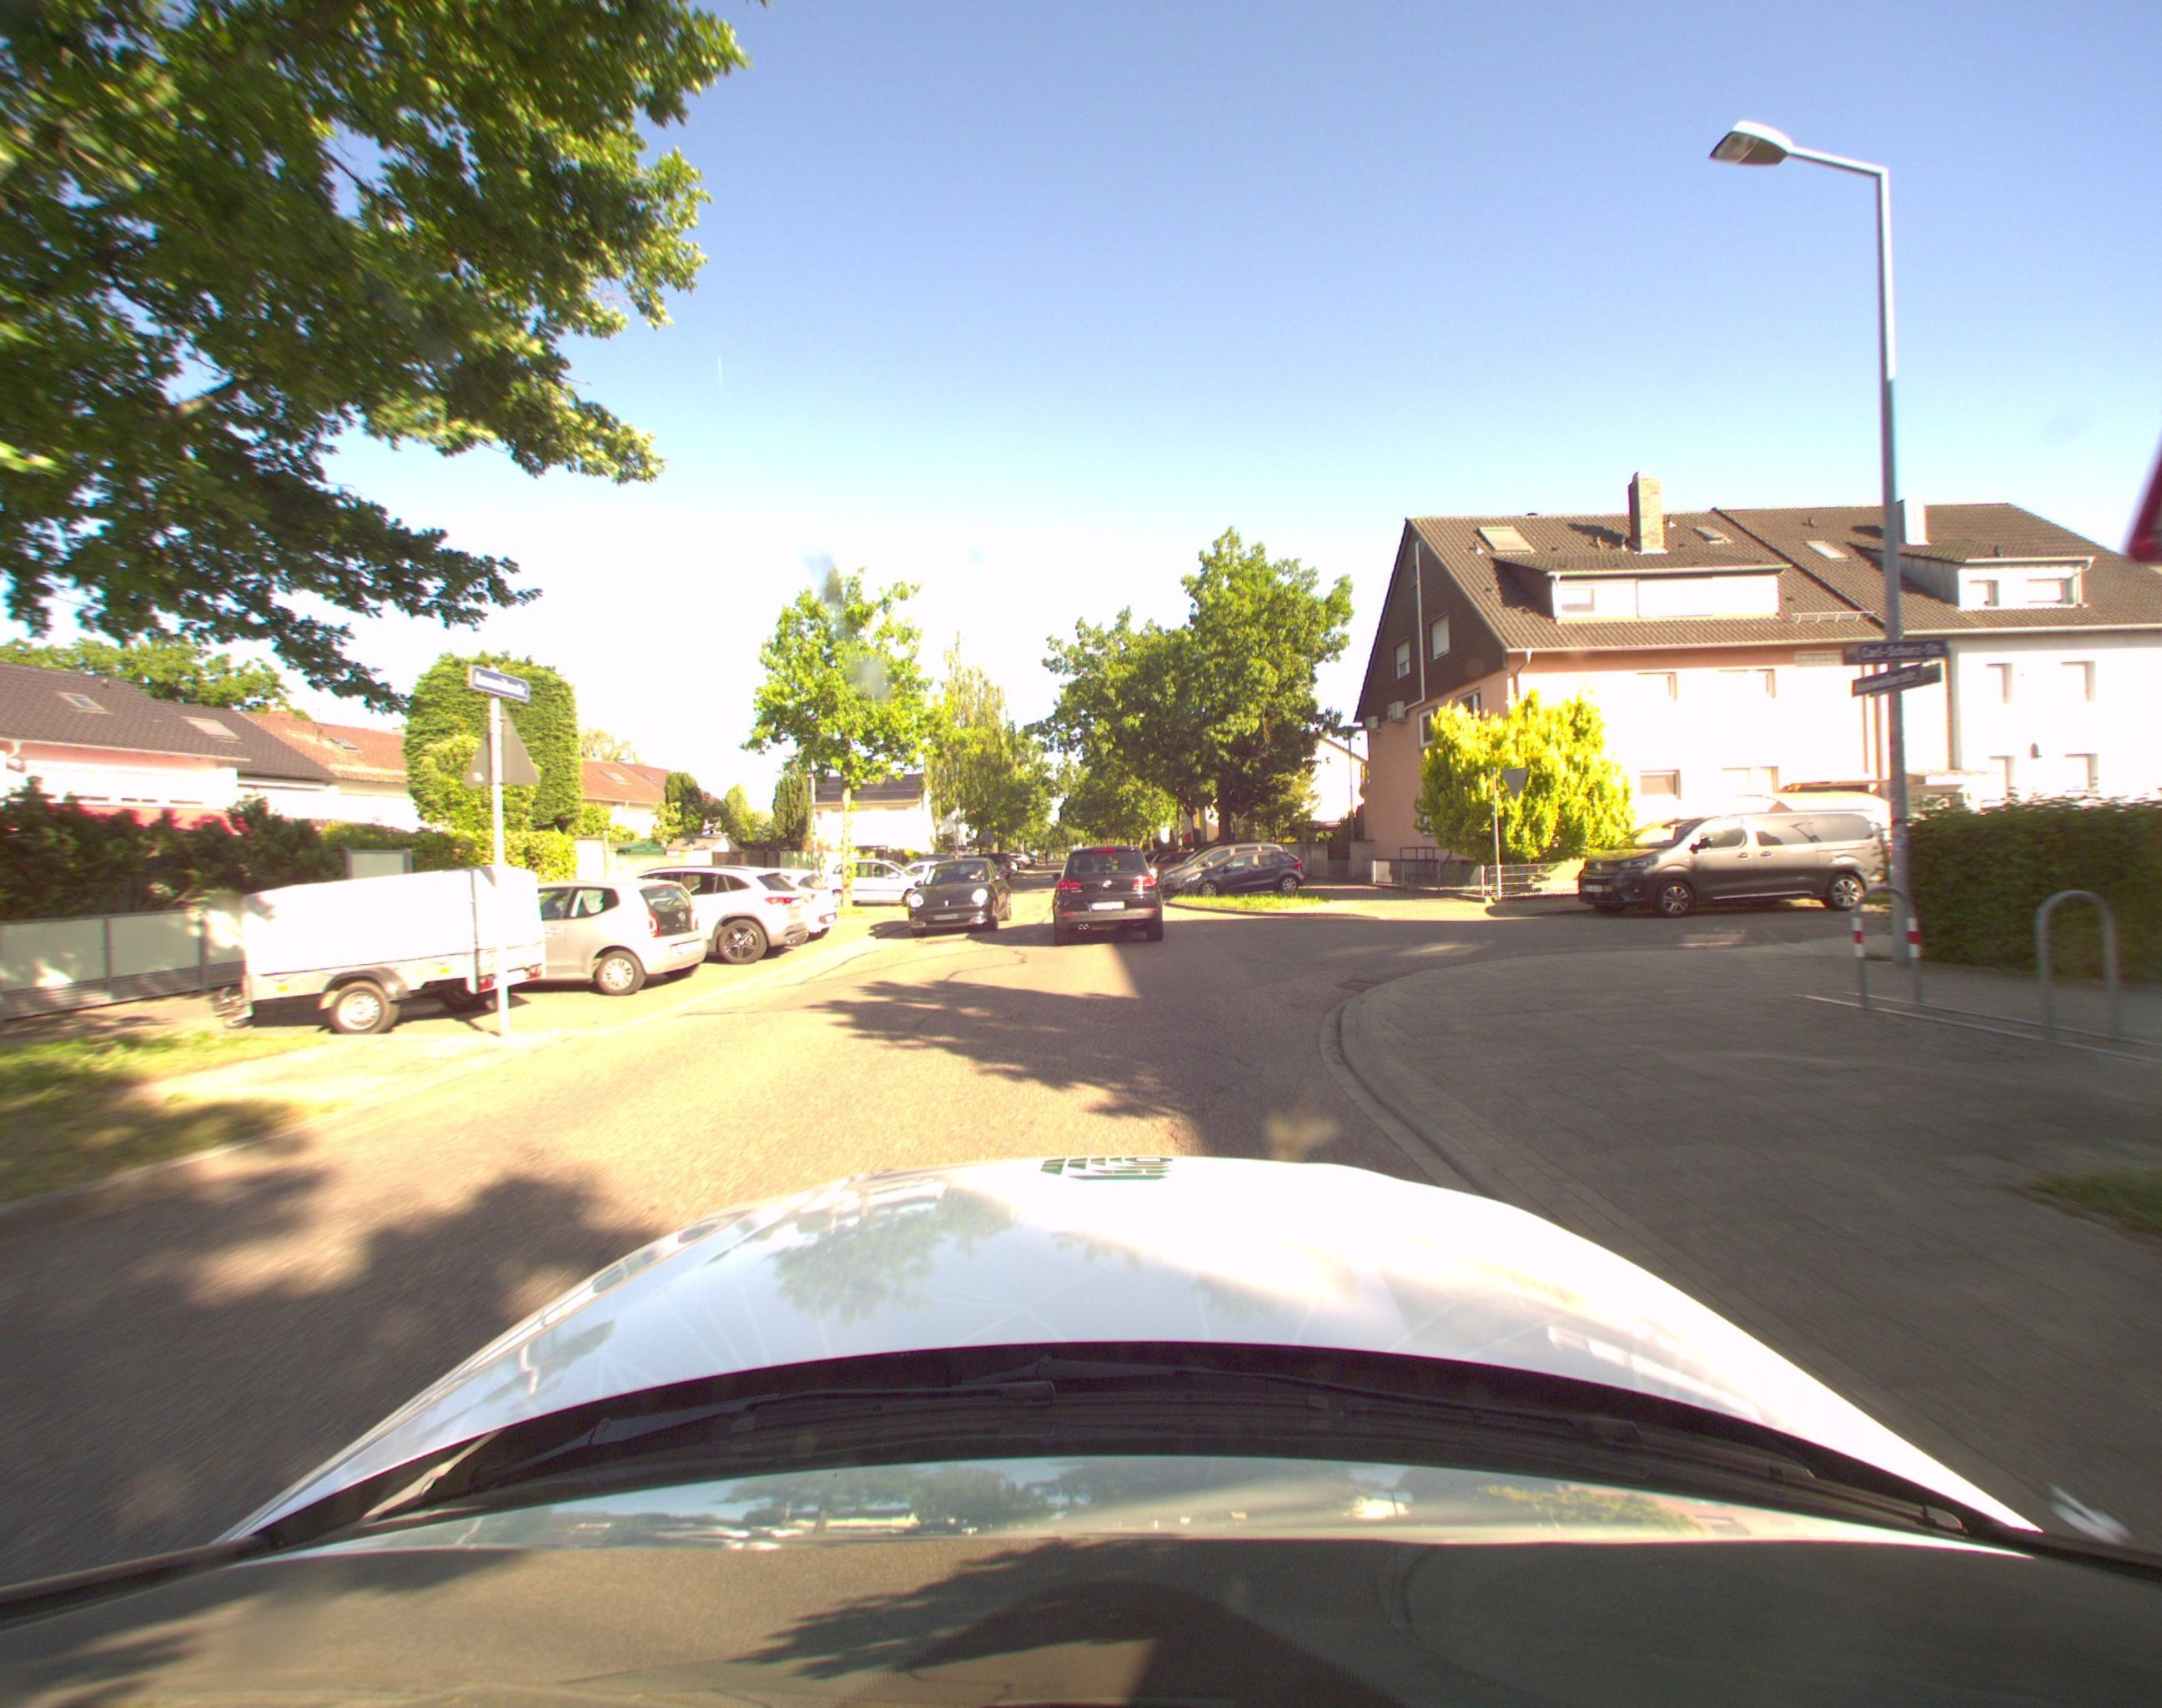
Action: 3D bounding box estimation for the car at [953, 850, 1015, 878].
[{"bbox_3d":[-6.605,0.703,55.775,3.975,1.720,1.820,-2,-1,-1],"label":"car"}]

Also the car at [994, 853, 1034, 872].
[{"bbox_3d":[-6.879,0.852,83.630,3.984,1.684,1.995,-2,0,-8],"label":"car"}]

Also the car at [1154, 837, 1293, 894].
[{"bbox_3d":[5.024,0.394,29.161,4.618,1.809,1.823,-2,0,0],"label":"car"}]

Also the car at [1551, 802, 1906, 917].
[{"bbox_3d":[12.223,0.116,15.626,5.228,1.847,2.070,-2,-1,-3],"label":"car"}]

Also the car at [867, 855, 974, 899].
[{"bbox_3d":[-6.612,0.946,33.922,3.972,1.640,2.001,-2,0,1],"label":"car"}]

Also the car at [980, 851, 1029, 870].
[{"bbox_3d":[-6.626,0.582,71.098,3.973,1.498,2.000,-2,-2,0],"label":"car"}]

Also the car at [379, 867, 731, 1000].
[{"bbox_3d":[-6.969,1.009,11.100,3.537,1.477,1.808,-2,0,0],"label":"car"}]

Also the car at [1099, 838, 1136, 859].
[{"bbox_3d":[3.973,-0.613,89.046,3.973,2.014,2.000,-2,-2,0],"label":"car"}]

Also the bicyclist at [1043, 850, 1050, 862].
[{"bbox_3d":[-4.055,0.210,95.929,0.699,1.346,0.506,-2,-2,-4],"label":"bicyclist"}]

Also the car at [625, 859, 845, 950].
[{"bbox_3d":[-6.730,0.943,16.194,3.543,1.557,1.849,-2,0,-5],"label":"car"}]

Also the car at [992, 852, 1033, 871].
[{"bbox_3d":[-6.880,0.708,81.230,3.984,1.684,1.918,-2,0,-8],"label":"car"}]

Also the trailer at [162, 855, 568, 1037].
[{"bbox_3d":[-7.479,0.897,8.737,2.961,1.656,1.394,-2,0,-4],"label":"trailer"}]

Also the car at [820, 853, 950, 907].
[{"bbox_3d":[-6.807,0.876,28.582,3.973,1.670,2.001,-2,0,1],"label":"car"}]

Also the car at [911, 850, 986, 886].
[{"bbox_3d":[-7.476,0.786,46.136,3.979,1.836,1.635,-2,0,-4],"label":"car"}]

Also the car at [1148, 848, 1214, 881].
[{"bbox_3d":[5.006,0.519,41.012,3.040,1.507,1.244,-2,0,-6],"label":"car"}]

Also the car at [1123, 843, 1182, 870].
[{"bbox_3d":[5.018,0.160,57.493,3.973,1.775,1.790,-2,0,0],"label":"car"}]

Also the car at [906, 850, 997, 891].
[{"bbox_3d":[-6.089,0.778,38.685,3.979,1.731,1.997,-2,0,-4],"label":"car"}]

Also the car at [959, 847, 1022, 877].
[{"bbox_3d":[-6.446,0.595,58.249,4.382,1.939,1.576,-2,-1,-5],"label":"car"}]

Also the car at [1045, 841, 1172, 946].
[{"bbox_3d":[0.341,0.610,15.159,1.925,1.654,4.508,0,0,-4],"label":"car"}]

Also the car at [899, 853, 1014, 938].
[{"bbox_3d":[-2.645,0.829,18.266,1.904,1.555,3.999,-4,0,-1],"label":"car"}]

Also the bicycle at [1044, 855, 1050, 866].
[{"bbox_3d":[-4.036,0.768,95.945,0.636,1.163,1.739,-2,-2,-3],"label":"bicycle"}]

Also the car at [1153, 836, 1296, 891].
[{"bbox_3d":[5.586,0.350,32.202,5.243,1.945,2.000,-2,0,0],"label":"car"}]

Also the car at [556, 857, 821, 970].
[{"bbox_3d":[-6.455,0.932,13.780,3.544,1.613,1.849,-2,0,-6],"label":"car"}]

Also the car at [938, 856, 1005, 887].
[{"bbox_3d":[-5.795,0.928,43.277,3.364,1.490,1.641,-2,0,-4],"label":"car"}]

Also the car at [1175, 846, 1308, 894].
[{"bbox_3d":[5.177,0.500,26.663,3.974,1.368,1.846,-2,0,0],"label":"car"}]
